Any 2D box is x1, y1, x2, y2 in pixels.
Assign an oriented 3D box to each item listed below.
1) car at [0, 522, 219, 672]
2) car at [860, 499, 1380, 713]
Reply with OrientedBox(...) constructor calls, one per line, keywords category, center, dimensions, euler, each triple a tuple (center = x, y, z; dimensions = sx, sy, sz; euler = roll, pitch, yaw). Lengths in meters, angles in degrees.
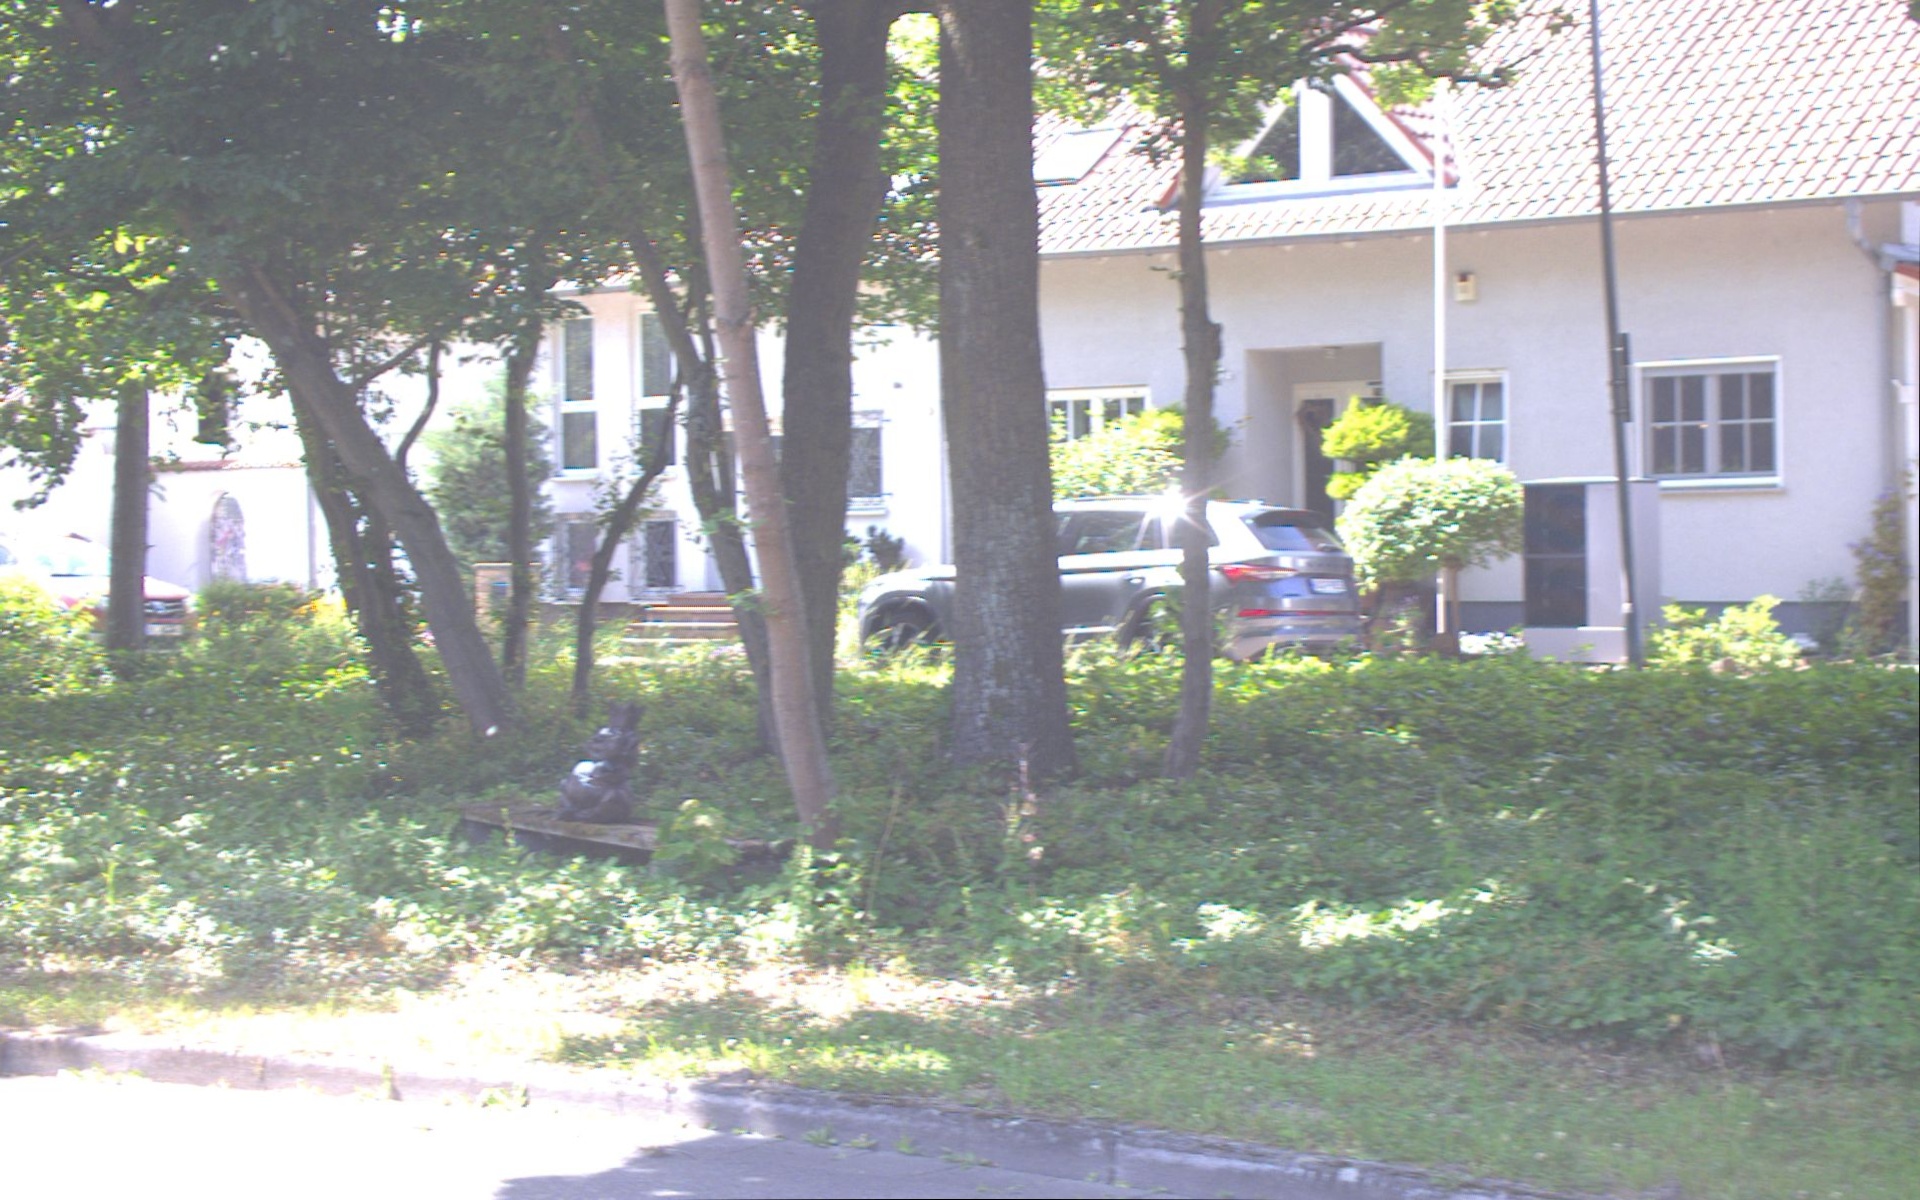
OrientedBox(category="car", center=(-10.269, -0.053, 38.546), dimensions=(4.023, 1.596, 1.662), euler=(0, 1, 39))
OrientedBox(category="car", center=(1.323, 0.028, 29.173), dimensions=(4.138, 1.699, 1.663), euler=(0, 1, 35))
